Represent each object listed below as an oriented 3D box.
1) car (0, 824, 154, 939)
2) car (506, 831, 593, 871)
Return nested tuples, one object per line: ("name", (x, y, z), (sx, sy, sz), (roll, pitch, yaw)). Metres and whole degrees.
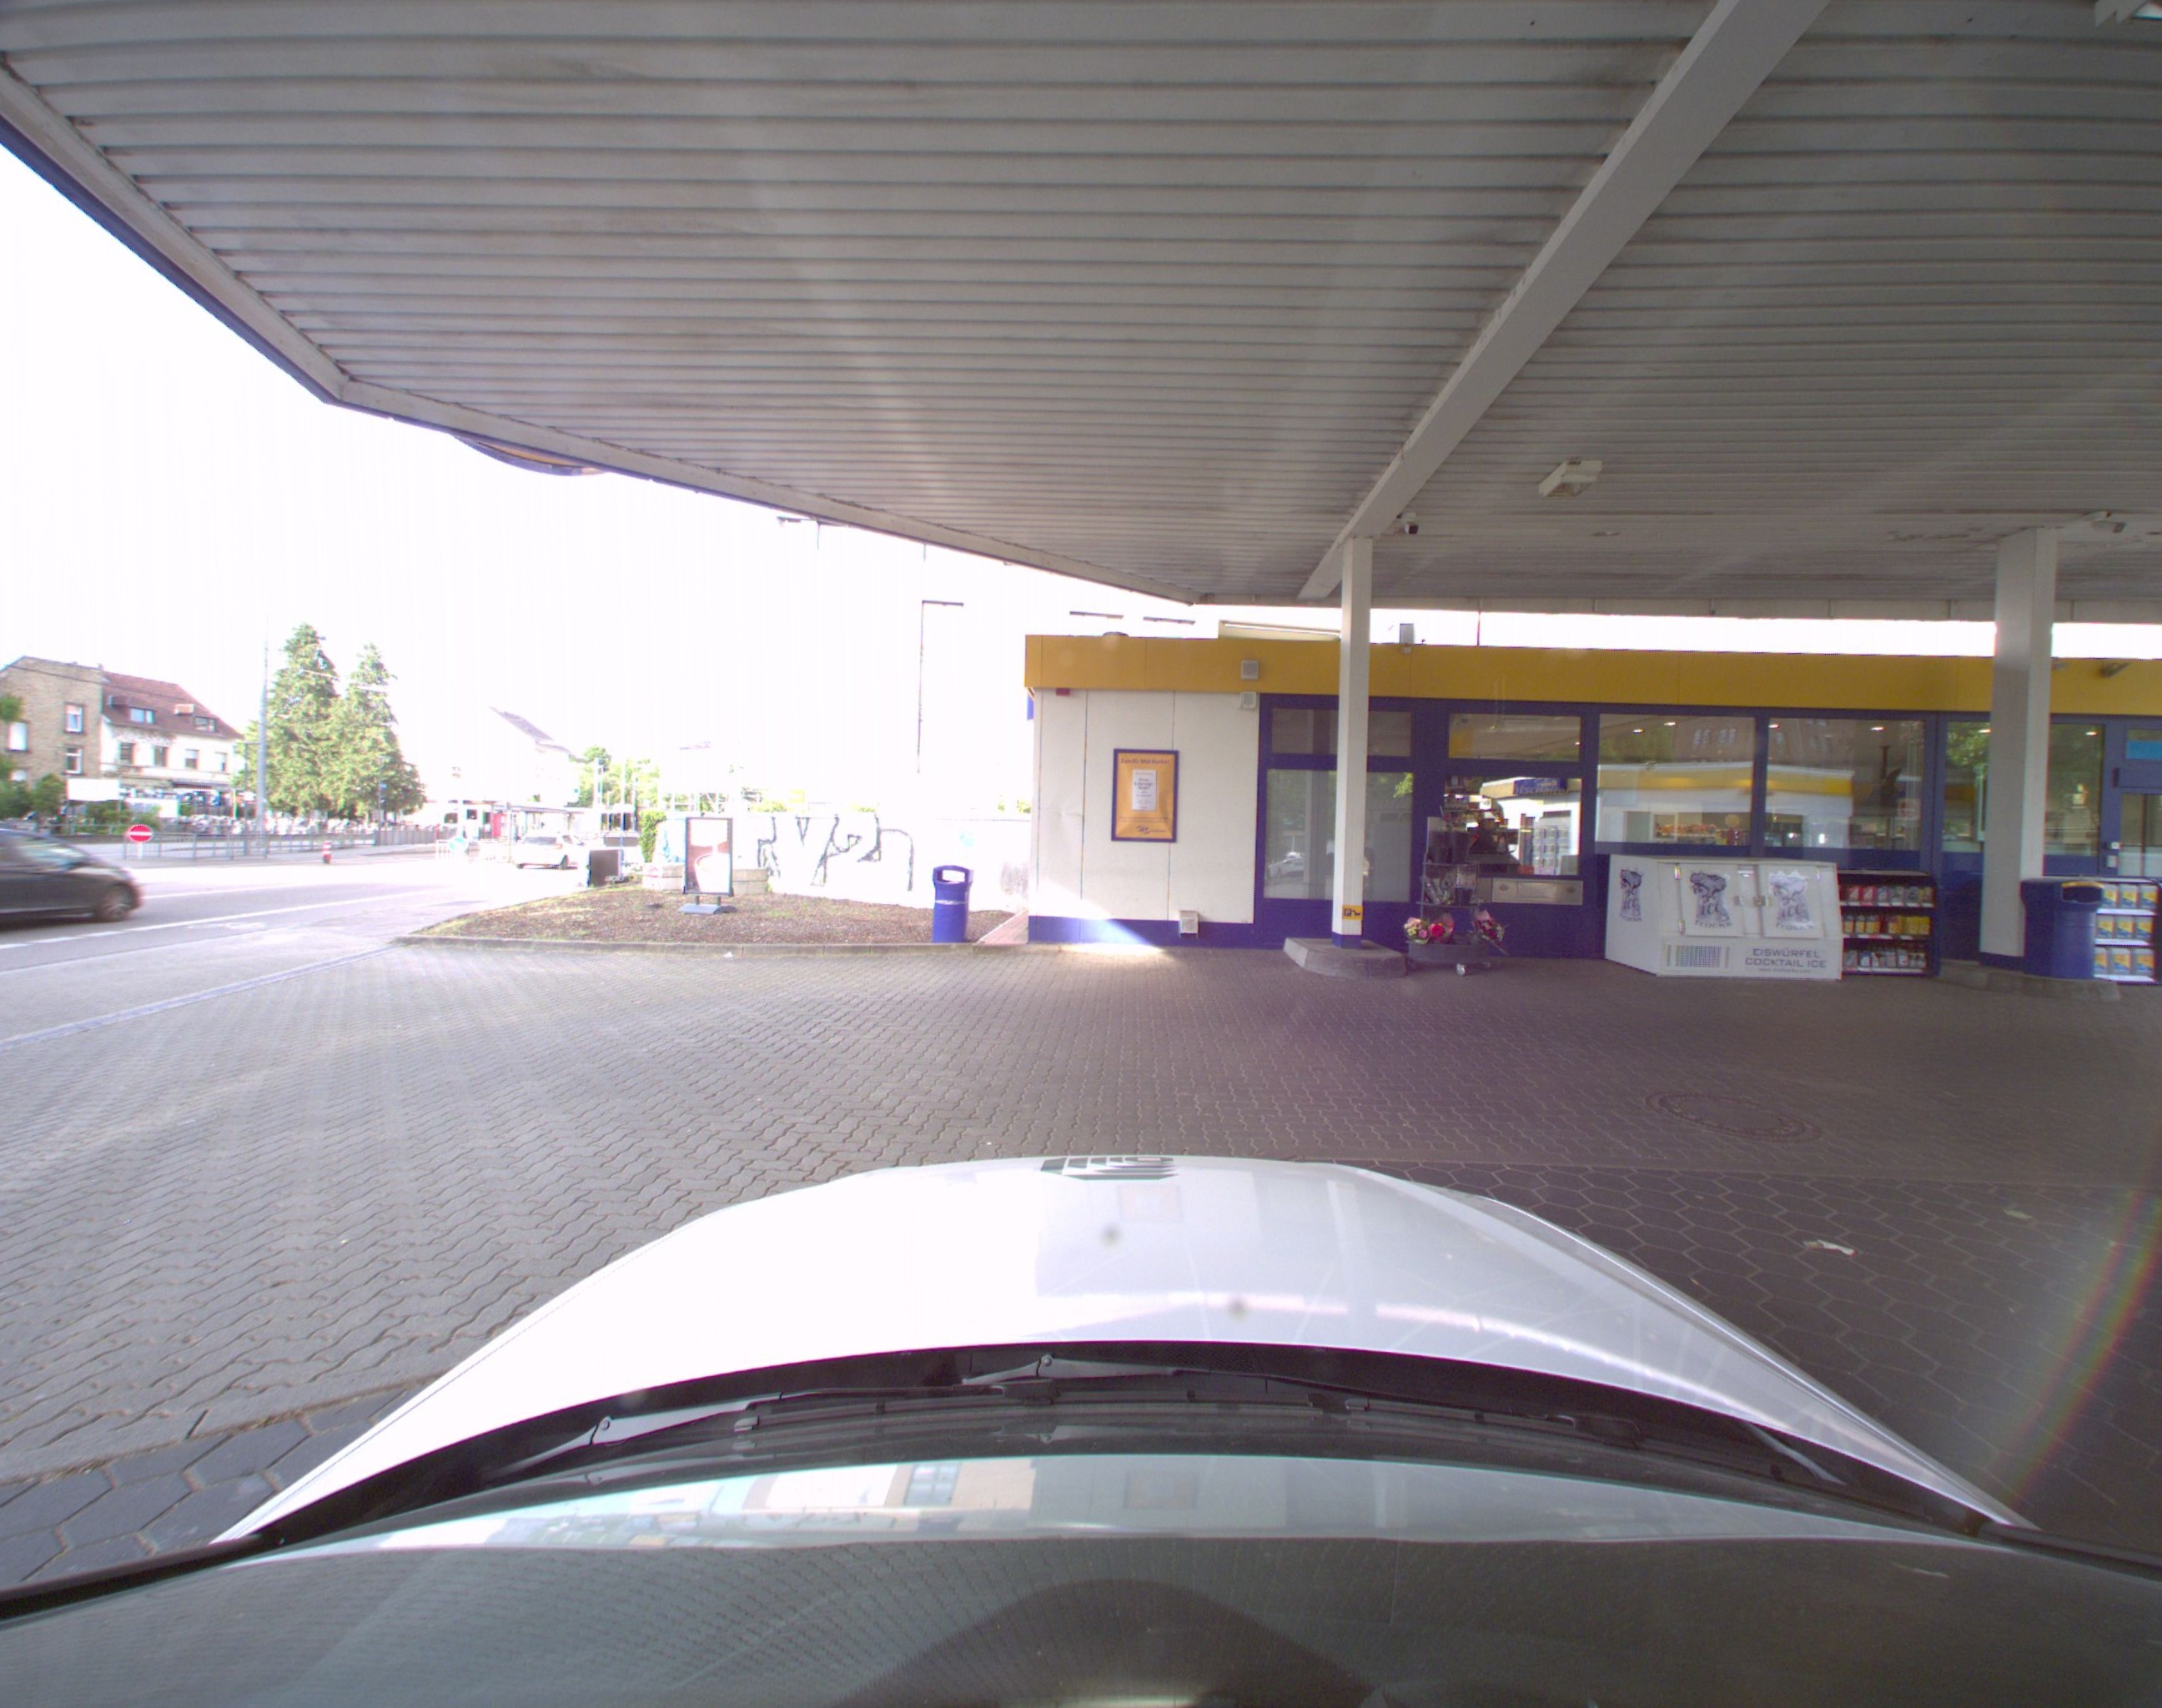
("car", (-15.934, 0.364, 11.663), (1.670, 1.547, 3.692), (2, 1, -15))
("car", (-20.548, -0.136, 31.658), (1.670, 1.400, 3.692), (2, 1, -15))
